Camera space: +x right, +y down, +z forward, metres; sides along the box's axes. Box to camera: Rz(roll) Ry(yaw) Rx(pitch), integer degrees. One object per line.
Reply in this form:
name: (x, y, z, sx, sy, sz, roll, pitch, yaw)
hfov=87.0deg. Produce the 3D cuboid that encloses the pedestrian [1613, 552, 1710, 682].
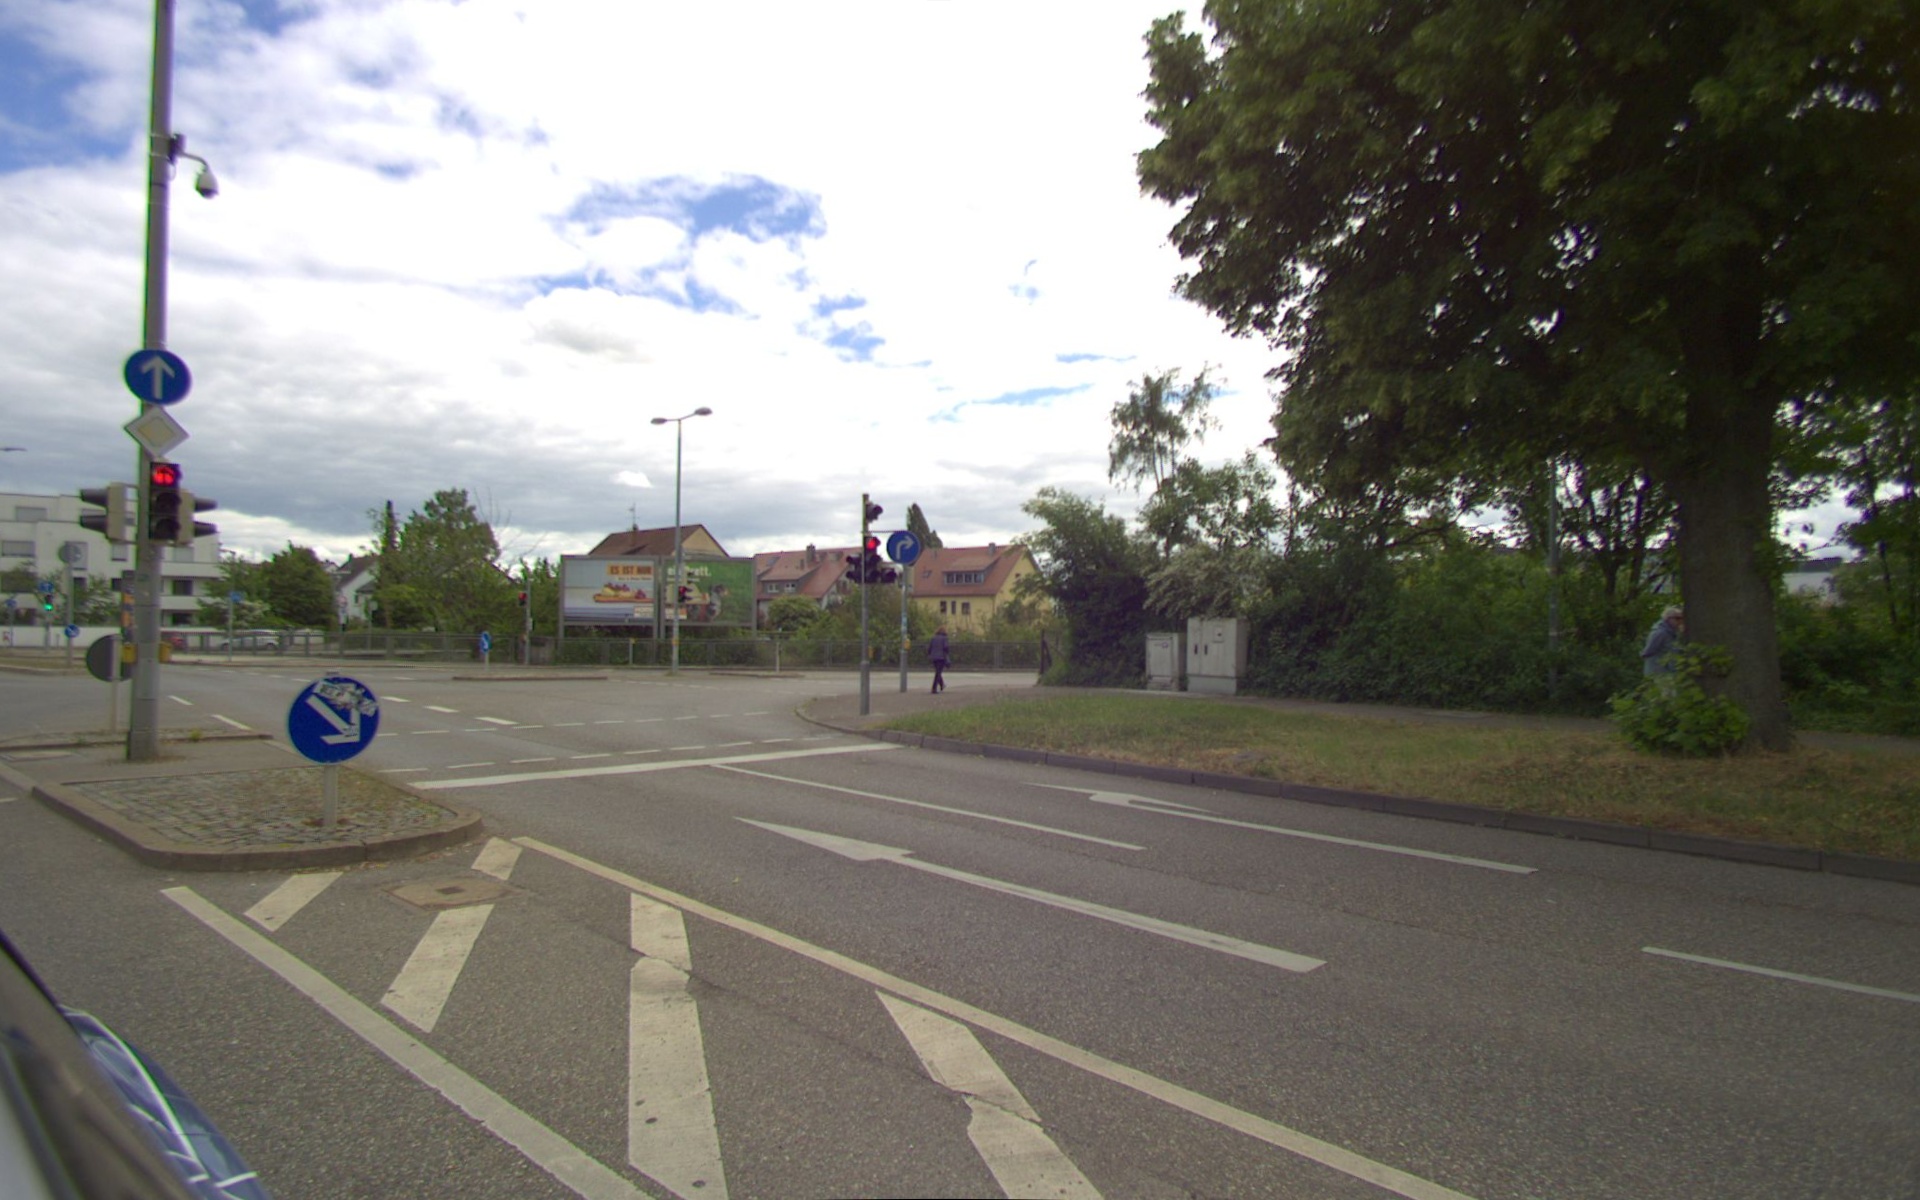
pedestrian: (8.621, 0.209, 12.436, 0.923, 1.534, 0.649, -1, -1, 40)

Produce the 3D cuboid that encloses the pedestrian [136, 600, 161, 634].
pedestrian: (-40.184, 0.838, 50.124, 0.828, 1.645, 0.652, -1, 0, 26)

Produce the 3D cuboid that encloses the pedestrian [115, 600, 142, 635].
pedestrian: (-40.610, 0.848, 49.422, 1.065, 1.645, 0.652, -1, 0, 26)

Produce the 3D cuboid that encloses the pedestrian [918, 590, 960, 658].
pedestrian: (-0.451, 0.503, 22.006, 0.598, 1.418, 0.768, 1, 2, 30)

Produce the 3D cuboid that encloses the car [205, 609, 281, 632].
car: (-50.785, 1.477, 71.739, 4.061, 1.547, 1.651, 2, -3, -13)

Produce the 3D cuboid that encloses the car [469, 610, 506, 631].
car: (-39.278, 1.681, 84.257, 1.758, 1.592, 4.009, -2, 1, -10)

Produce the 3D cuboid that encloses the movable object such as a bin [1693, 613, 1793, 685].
movable object such as a bin: (9.219, 0.559, 11.923, 0.896, 0.804, 0.649, -1, -1, 40)
